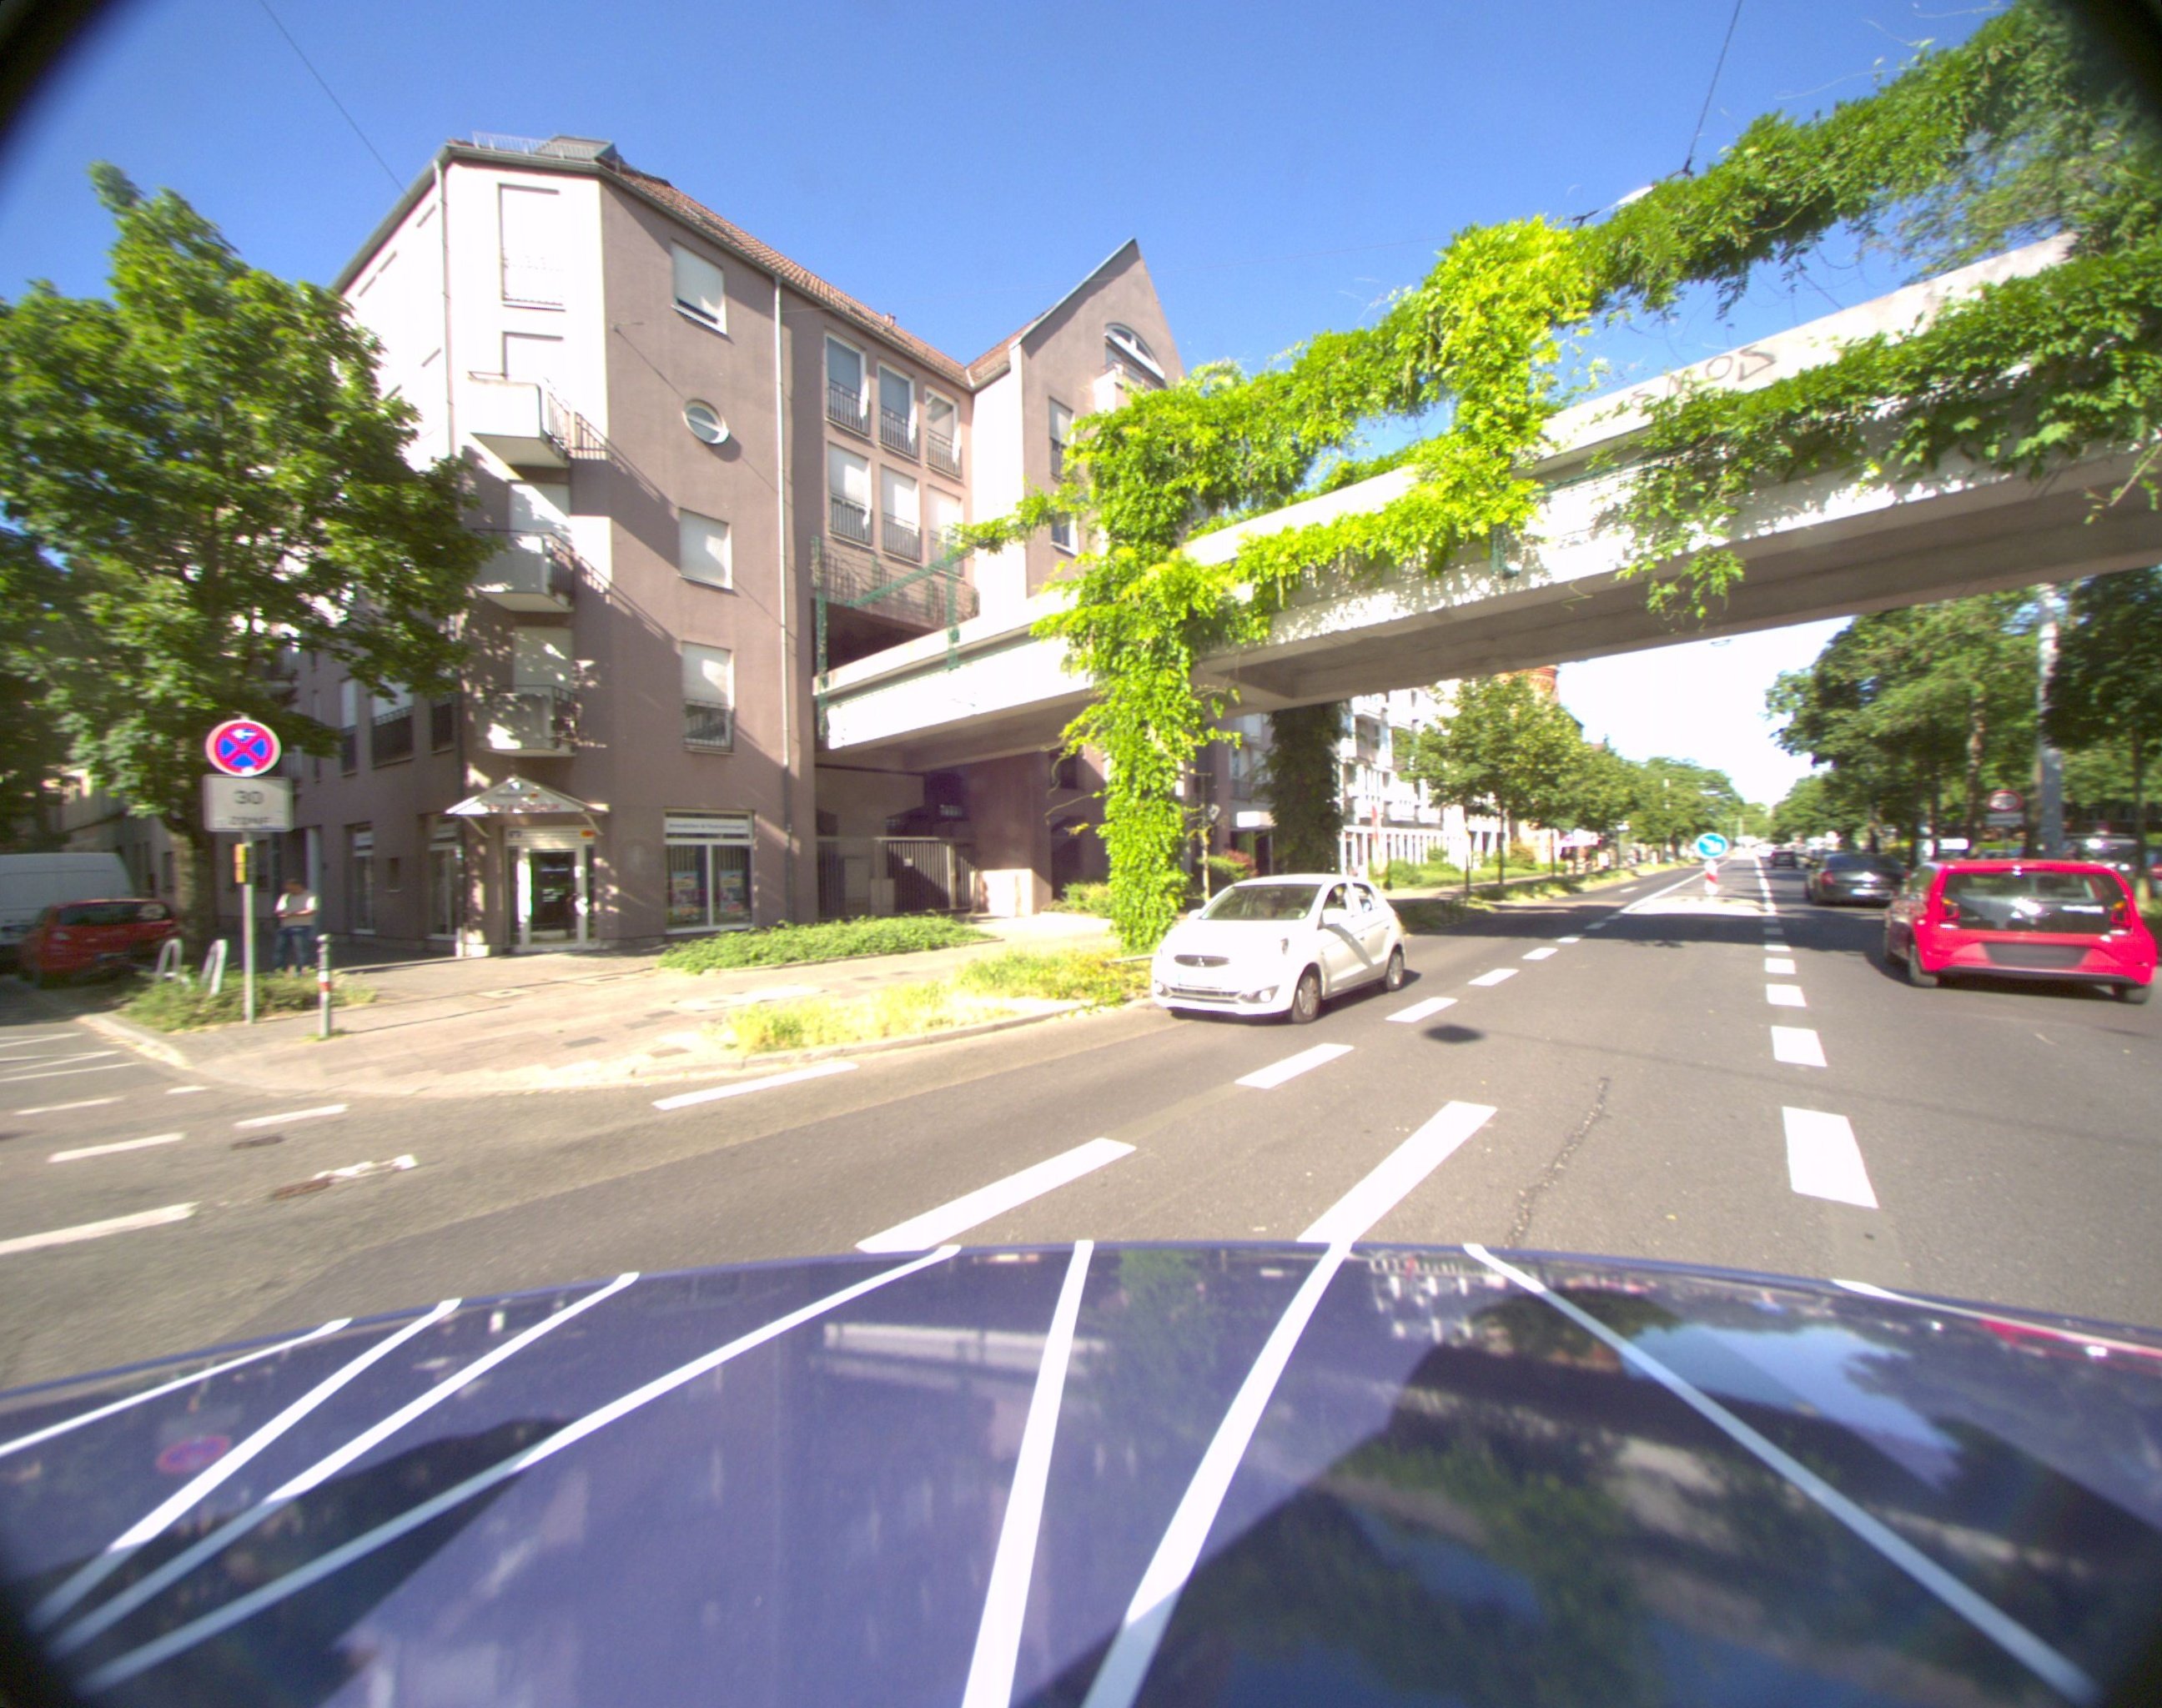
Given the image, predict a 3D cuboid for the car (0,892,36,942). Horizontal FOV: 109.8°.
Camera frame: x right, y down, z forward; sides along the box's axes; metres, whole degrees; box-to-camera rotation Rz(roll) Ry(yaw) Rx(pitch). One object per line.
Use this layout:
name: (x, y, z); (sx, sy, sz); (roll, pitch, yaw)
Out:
car: (-37.201, 2.139, 25.789); (3.811, 1.548, 1.789); (-1, 0, 32)

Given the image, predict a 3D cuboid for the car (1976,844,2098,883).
car: (36.356, 0.326, 29.054); (1.717, 1.375, 4.502); (-1, 0, 36)

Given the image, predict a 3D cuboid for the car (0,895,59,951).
car: (-33.038, 2.090, 23.314); (3.811, 1.548, 1.699); (-1, 0, 32)

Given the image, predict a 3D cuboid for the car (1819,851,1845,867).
car: (70.272, 0.429, 71.123); (1.602, 1.406, 4.008); (-1, 0, 42)

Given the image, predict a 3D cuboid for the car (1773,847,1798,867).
car: (57.658, 0.234, 62.226); (1.467, 1.518, 2.822); (0, 0, 42)

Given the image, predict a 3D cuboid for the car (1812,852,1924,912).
car: (21.701, 0.700, 21.107); (1.866, 1.450, 4.602); (0, 0, 42)

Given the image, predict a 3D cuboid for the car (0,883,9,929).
car: (-46.029, 2.180, 31.437); (3.989, 1.870, 1.781); (-2, 0, 33)

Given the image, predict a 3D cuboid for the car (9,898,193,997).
car: (-18.114, 1.611, 14.009); (3.989, 1.454, 1.696); (-1, 0, 33)

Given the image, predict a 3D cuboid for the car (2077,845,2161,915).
car: (27.158, 0.598, 19.132); (1.773, 1.637, 4.091); (-1, 0, 42)

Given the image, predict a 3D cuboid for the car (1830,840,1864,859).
car: (62.923, -0.364, 62.467); (1.737, 1.480, 4.008); (-1, 0, 42)

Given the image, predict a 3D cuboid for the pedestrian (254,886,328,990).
pedestrian: (-12.644, 1.322, 12.175); (0.635, 1.567, 0.530); (-1, 0, -24)

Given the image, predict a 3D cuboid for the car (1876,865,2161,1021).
car: (10.879, 0.876, 9.032); (1.652, 1.420, 3.514); (-1, 0, 41)

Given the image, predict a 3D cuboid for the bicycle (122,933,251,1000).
bicycle: (-13.396, 1.663, 11.408); (0.293, 0.818, 1.206); (-1, 0, 32)

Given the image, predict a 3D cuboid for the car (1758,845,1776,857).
car: (99.146, -0.442, 109.800); (1.788, 1.574, 4.197); (-1, 0, 41)

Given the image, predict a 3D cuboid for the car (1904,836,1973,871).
car: (50.340, -0.033, 44.690); (2.066, 1.898, 4.535); (-1, 0, 40)

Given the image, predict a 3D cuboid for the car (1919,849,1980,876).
car: (46.667, 0.451, 40.896); (1.676, 1.325, 4.197); (-1, 0, 42)

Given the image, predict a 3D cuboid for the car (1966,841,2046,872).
car: (39.644, 0.095, 32.665); (1.652, 1.219, 3.855); (-1, 0, 43)

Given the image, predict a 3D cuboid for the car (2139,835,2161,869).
car: (56.643, -0.222, 38.059); (1.709, 1.703, 3.990); (-2, -2, -43)

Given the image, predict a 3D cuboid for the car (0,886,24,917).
car: (-58.519, 2.595, 39.538); (1.813, 1.576, 4.008); (-4, -2, 32)

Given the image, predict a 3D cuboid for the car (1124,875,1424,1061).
car: (2.431, 1.066, 8.793); (1.660, 1.521, 4.108); (-1, 0, 41)

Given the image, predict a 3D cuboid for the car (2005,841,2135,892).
car: (32.177, 0.370, 24.871); (1.730, 1.540, 4.458); (-1, 0, 41)

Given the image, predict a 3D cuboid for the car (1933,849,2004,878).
car: (43.327, 0.431, 37.173); (1.653, 1.336, 3.978); (-1, 0, 40)

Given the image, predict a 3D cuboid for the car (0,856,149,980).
car: (-23.234, 1.324, 16.984); (5.081, 2.437, 2.225); (-1, 0, 30)
